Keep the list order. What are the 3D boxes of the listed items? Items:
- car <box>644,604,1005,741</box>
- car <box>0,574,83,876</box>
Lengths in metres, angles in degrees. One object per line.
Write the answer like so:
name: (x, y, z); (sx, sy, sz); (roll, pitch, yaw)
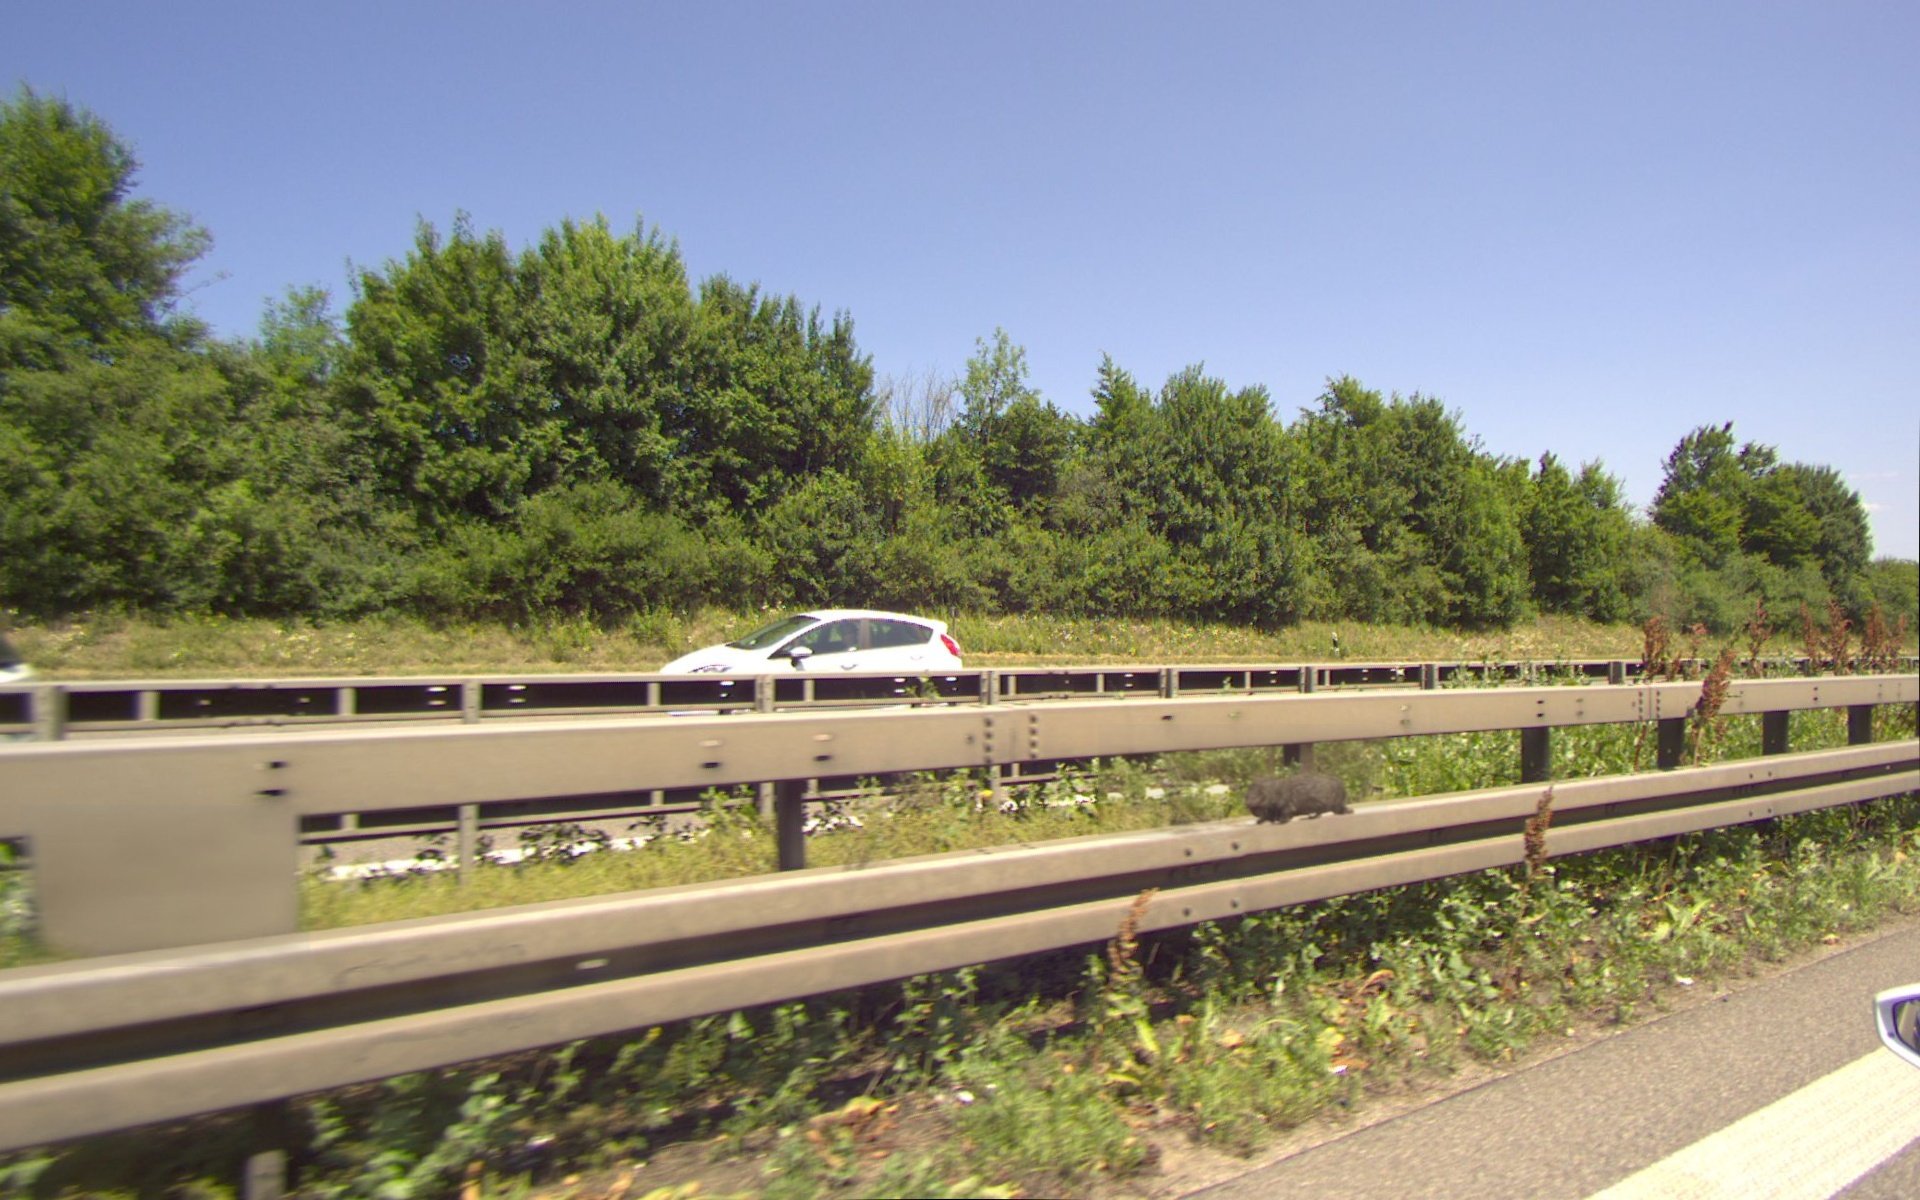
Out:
car: (-1.654, 0.830, 12.809); (4.306, 1.482, 1.573); (1, 0, -31)
car: (-7.224, 0.645, 4.790); (4.342, 1.575, 1.667); (0, 1, -32)
